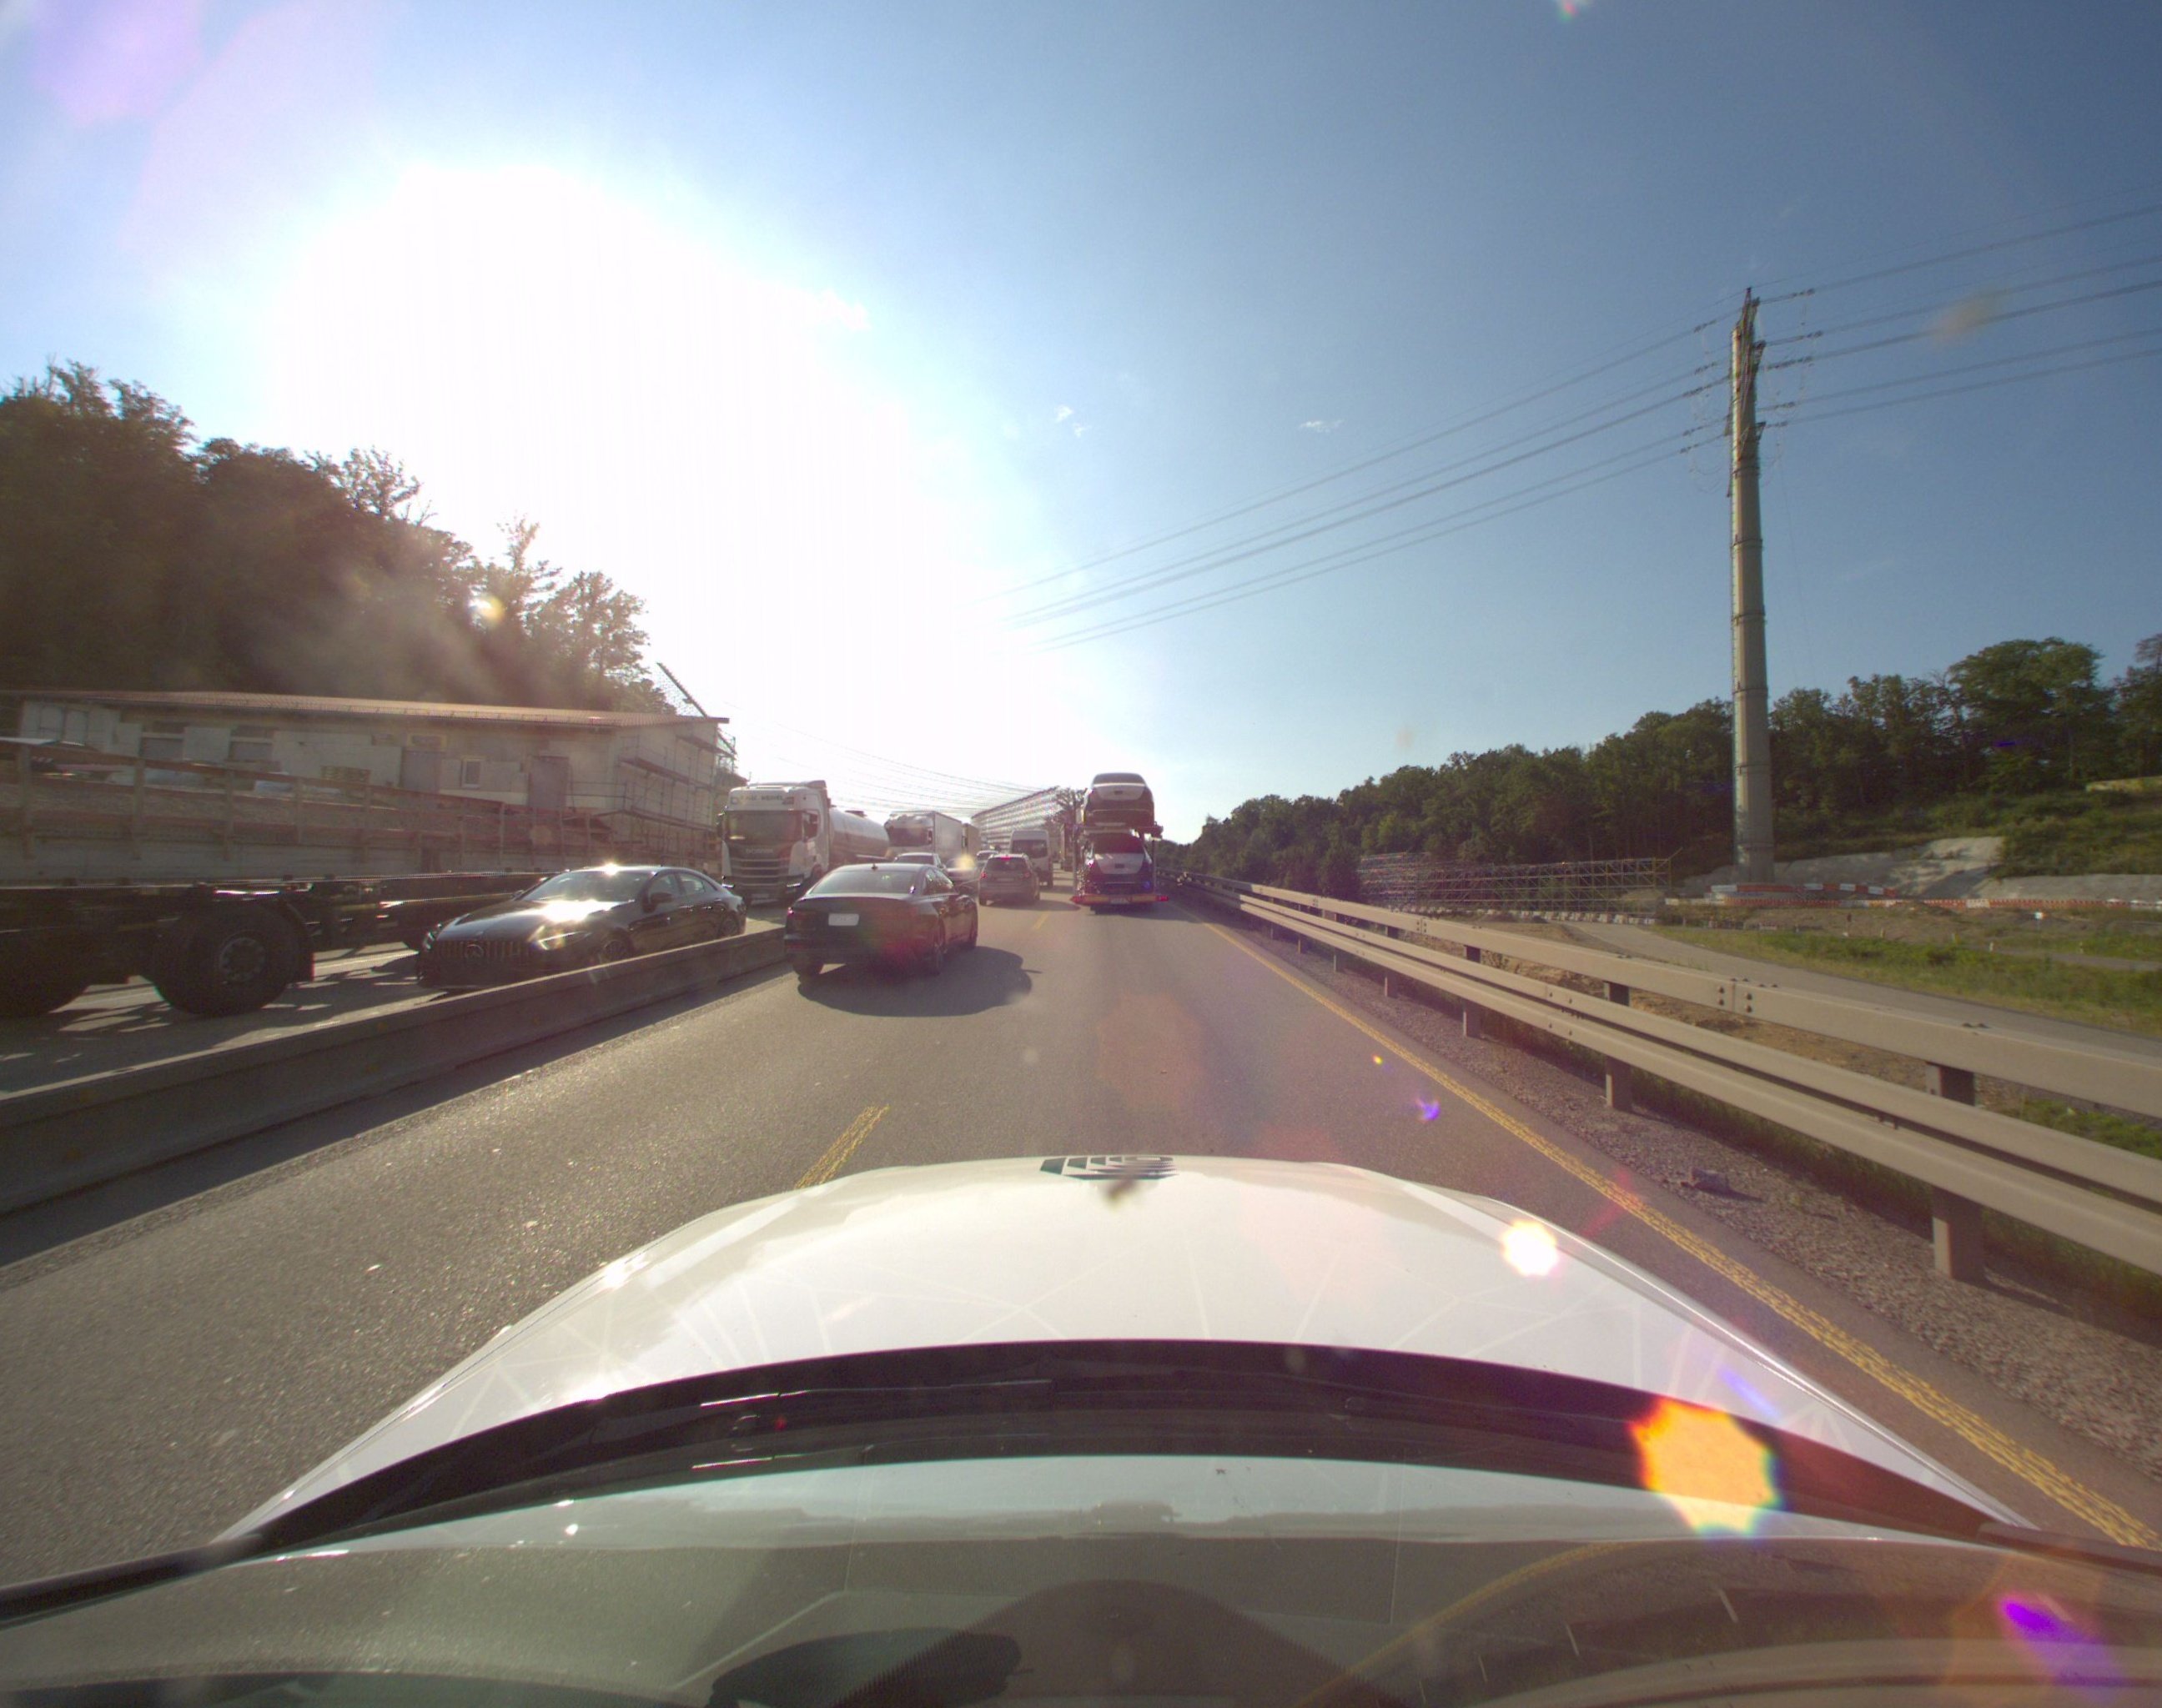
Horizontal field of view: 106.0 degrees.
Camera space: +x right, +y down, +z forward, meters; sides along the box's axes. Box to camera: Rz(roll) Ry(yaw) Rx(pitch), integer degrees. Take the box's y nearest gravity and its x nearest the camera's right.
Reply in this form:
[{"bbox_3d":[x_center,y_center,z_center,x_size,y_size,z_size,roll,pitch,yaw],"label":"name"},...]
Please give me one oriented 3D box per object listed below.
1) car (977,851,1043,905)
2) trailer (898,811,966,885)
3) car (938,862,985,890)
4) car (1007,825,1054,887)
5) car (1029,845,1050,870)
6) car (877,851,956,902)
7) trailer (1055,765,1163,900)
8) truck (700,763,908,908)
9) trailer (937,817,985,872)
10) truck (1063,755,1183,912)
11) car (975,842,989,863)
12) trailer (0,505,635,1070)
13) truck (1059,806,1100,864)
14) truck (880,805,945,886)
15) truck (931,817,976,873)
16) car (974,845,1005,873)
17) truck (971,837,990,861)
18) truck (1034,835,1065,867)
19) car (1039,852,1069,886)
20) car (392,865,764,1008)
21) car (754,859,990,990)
[{"bbox_3d":[-2.231,0.775,26.514,1.695,1.587,4.147,-1,-1,1],"label":"car"},{"bbox_3d":[-9.595,-0.225,53.772,2.446,4.266,12.138,-1,-1,-1],"label":"trailer"},{"bbox_3d":[-5.884,1.068,40.561,1.706,1.253,4.050,-2,-1,-1],"label":"car"},{"bbox_3d":[-2.256,0.130,37.365,1.974,2.684,4.142,-1,-1,-3],"label":"car"},{"bbox_3d":[-3.459,0.316,67.981,1.665,1.985,3.812,-1,-1,-4],"label":"car"},{"bbox_3d":[-5.860,0.794,29.528,1.839,1.648,4.560,-2,-1,1],"label":"car"},{"bbox_3d":[0.604,-0.493,32.054,2.868,3.994,15.260,-1,-1,-3],"label":"trailer"},{"bbox_3d":[-9.269,-0.433,29.903,2.800,3.970,13.888,2,-1,0],"label":"truck"},{"bbox_3d":[-10.557,-0.581,73.054,2.887,4.394,14.362,-1,-1,-3],"label":"trailer"},{"bbox_3d":[1.015,-0.480,23.787,2.863,3.980,5.764,-1,-1,-3],"label":"truck"},{"bbox_3d":[-13.337,-0.154,109.922,1.665,2.765,4.952,-1,0,-4],"label":"car"},{"bbox_3d":[-9.375,-0.472,6.212,2.691,4.204,16.001,-1,-1,2],"label":"trailer"},{"bbox_3d":[-0.249,-1.553,71.688,3.220,4.677,11.686,-1,0,-2],"label":"truck"},{"bbox_3d":[-9.455,-0.395,46.377,2.437,4.272,6.318,-1,-1,-1],"label":"truck"},{"bbox_3d":[-10.208,-0.636,65.664,2.887,4.272,5.764,-1,-1,-3],"label":"truck"},{"bbox_3d":[-6.594,0.358,58.921,1.828,1.917,4.861,-1,0,-2],"label":"car"},{"bbox_3d":[-17.227,-0.891,140.202,2.636,3.995,9.016,-1,0,-4],"label":"truck"},{"bbox_3d":[-4.923,-0.495,125.074,3.645,4.677,11.665,-1,0,-7],"label":"truck"},{"bbox_3d":[-1.635,0.916,49.442,1.664,1.985,3.814,-1,-1,-2],"label":"car"},{"bbox_3d":[-6.055,0.885,10.702,1.733,1.402,4.903,-1,-1,1],"label":"car"},{"bbox_3d":[-2.741,0.863,12.132,1.933,1.480,5.224,-2,-1,2],"label":"car"}]
